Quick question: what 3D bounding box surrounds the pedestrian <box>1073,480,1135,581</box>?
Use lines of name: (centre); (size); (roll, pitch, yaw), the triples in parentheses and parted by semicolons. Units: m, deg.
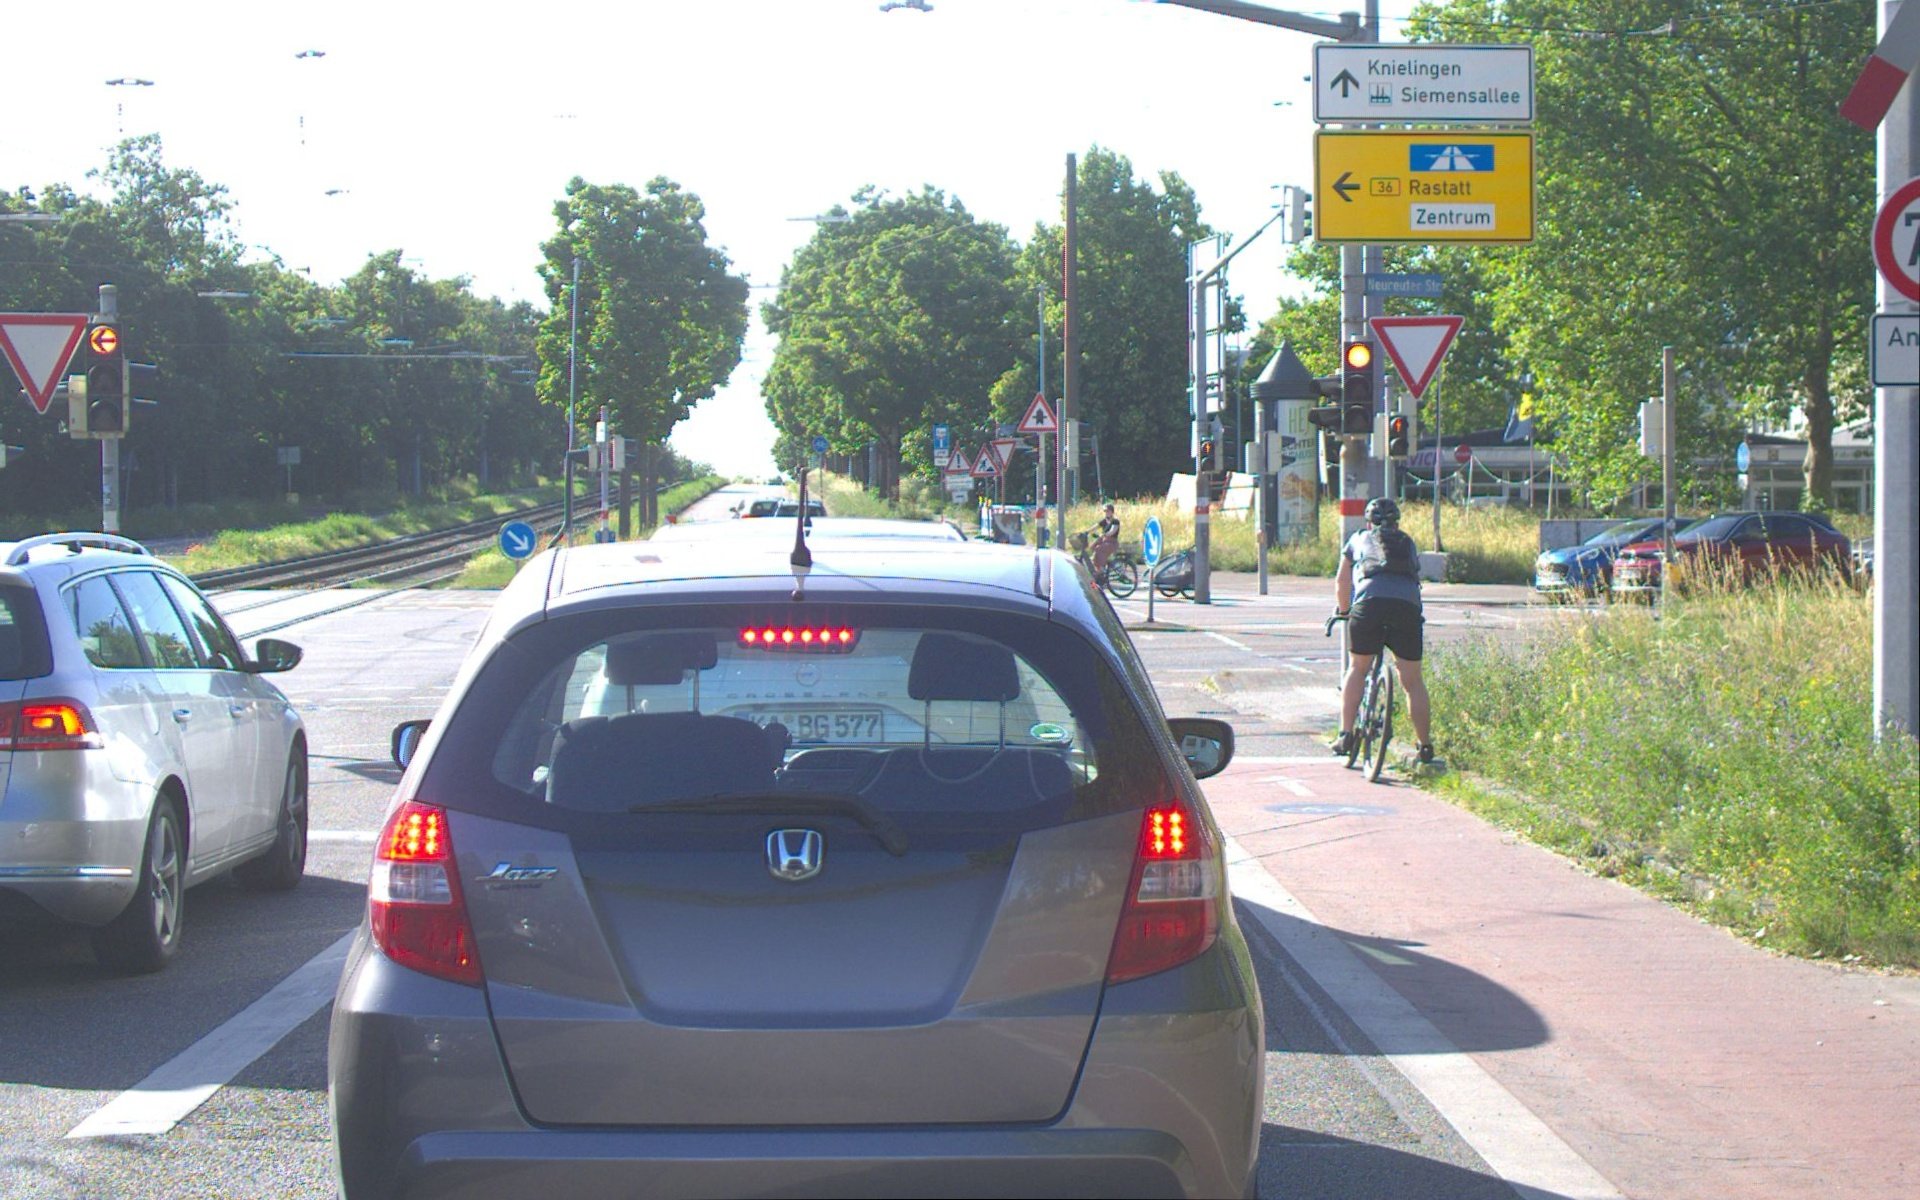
pedestrian: (2.639, -1.273, 62.896); (0.852, 1.830, 0.791); (-1, 1, -26)

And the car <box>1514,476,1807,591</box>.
car: (12.275, -1.148, 60.267); (4.686, 1.873, 2.001); (1, 1, -23)

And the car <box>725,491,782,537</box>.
car: (-6.336, -2.607, 105.158); (1.522, 1.374, 3.677); (-1, 1, -7)

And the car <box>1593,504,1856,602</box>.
car: (12.447, -0.779, 55.984); (3.986, 1.525, 1.606); (-1, 1, -23)

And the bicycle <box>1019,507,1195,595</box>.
bicycle: (2.696, -0.907, 62.916); (3.203, 1.569, 0.821); (-1, 1, -25)

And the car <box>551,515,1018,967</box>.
car: (-0.650, 0.448, 14.011); (1.611, 1.557, 4.288); (0, 1, -1)

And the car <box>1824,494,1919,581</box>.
car: (17.849, -1.159, 63.043); (3.742, 1.564, 1.491); (-1, 1, -23)

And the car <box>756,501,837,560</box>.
car: (-4.221, -1.788, 88.317); (1.709, 1.473, 4.001); (-1, 1, -8)

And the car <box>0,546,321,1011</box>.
car: (-3.534, 0.527, 12.794); (1.619, 1.452, 4.085); (1, 1, -1)

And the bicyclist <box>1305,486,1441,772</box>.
bicyclist: (2.538, 0.170, 21.179); (0.666, 1.710, 0.948); (1, 0, -1)

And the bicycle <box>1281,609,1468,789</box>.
bicycle: (2.526, 0.574, 21.265); (0.722, 0.985, 2.876); (1, 1, -1)

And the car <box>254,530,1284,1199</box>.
car: (-0.396, 0.581, 7.376); (1.668, 1.457, 3.587); (0, 1, -3)
